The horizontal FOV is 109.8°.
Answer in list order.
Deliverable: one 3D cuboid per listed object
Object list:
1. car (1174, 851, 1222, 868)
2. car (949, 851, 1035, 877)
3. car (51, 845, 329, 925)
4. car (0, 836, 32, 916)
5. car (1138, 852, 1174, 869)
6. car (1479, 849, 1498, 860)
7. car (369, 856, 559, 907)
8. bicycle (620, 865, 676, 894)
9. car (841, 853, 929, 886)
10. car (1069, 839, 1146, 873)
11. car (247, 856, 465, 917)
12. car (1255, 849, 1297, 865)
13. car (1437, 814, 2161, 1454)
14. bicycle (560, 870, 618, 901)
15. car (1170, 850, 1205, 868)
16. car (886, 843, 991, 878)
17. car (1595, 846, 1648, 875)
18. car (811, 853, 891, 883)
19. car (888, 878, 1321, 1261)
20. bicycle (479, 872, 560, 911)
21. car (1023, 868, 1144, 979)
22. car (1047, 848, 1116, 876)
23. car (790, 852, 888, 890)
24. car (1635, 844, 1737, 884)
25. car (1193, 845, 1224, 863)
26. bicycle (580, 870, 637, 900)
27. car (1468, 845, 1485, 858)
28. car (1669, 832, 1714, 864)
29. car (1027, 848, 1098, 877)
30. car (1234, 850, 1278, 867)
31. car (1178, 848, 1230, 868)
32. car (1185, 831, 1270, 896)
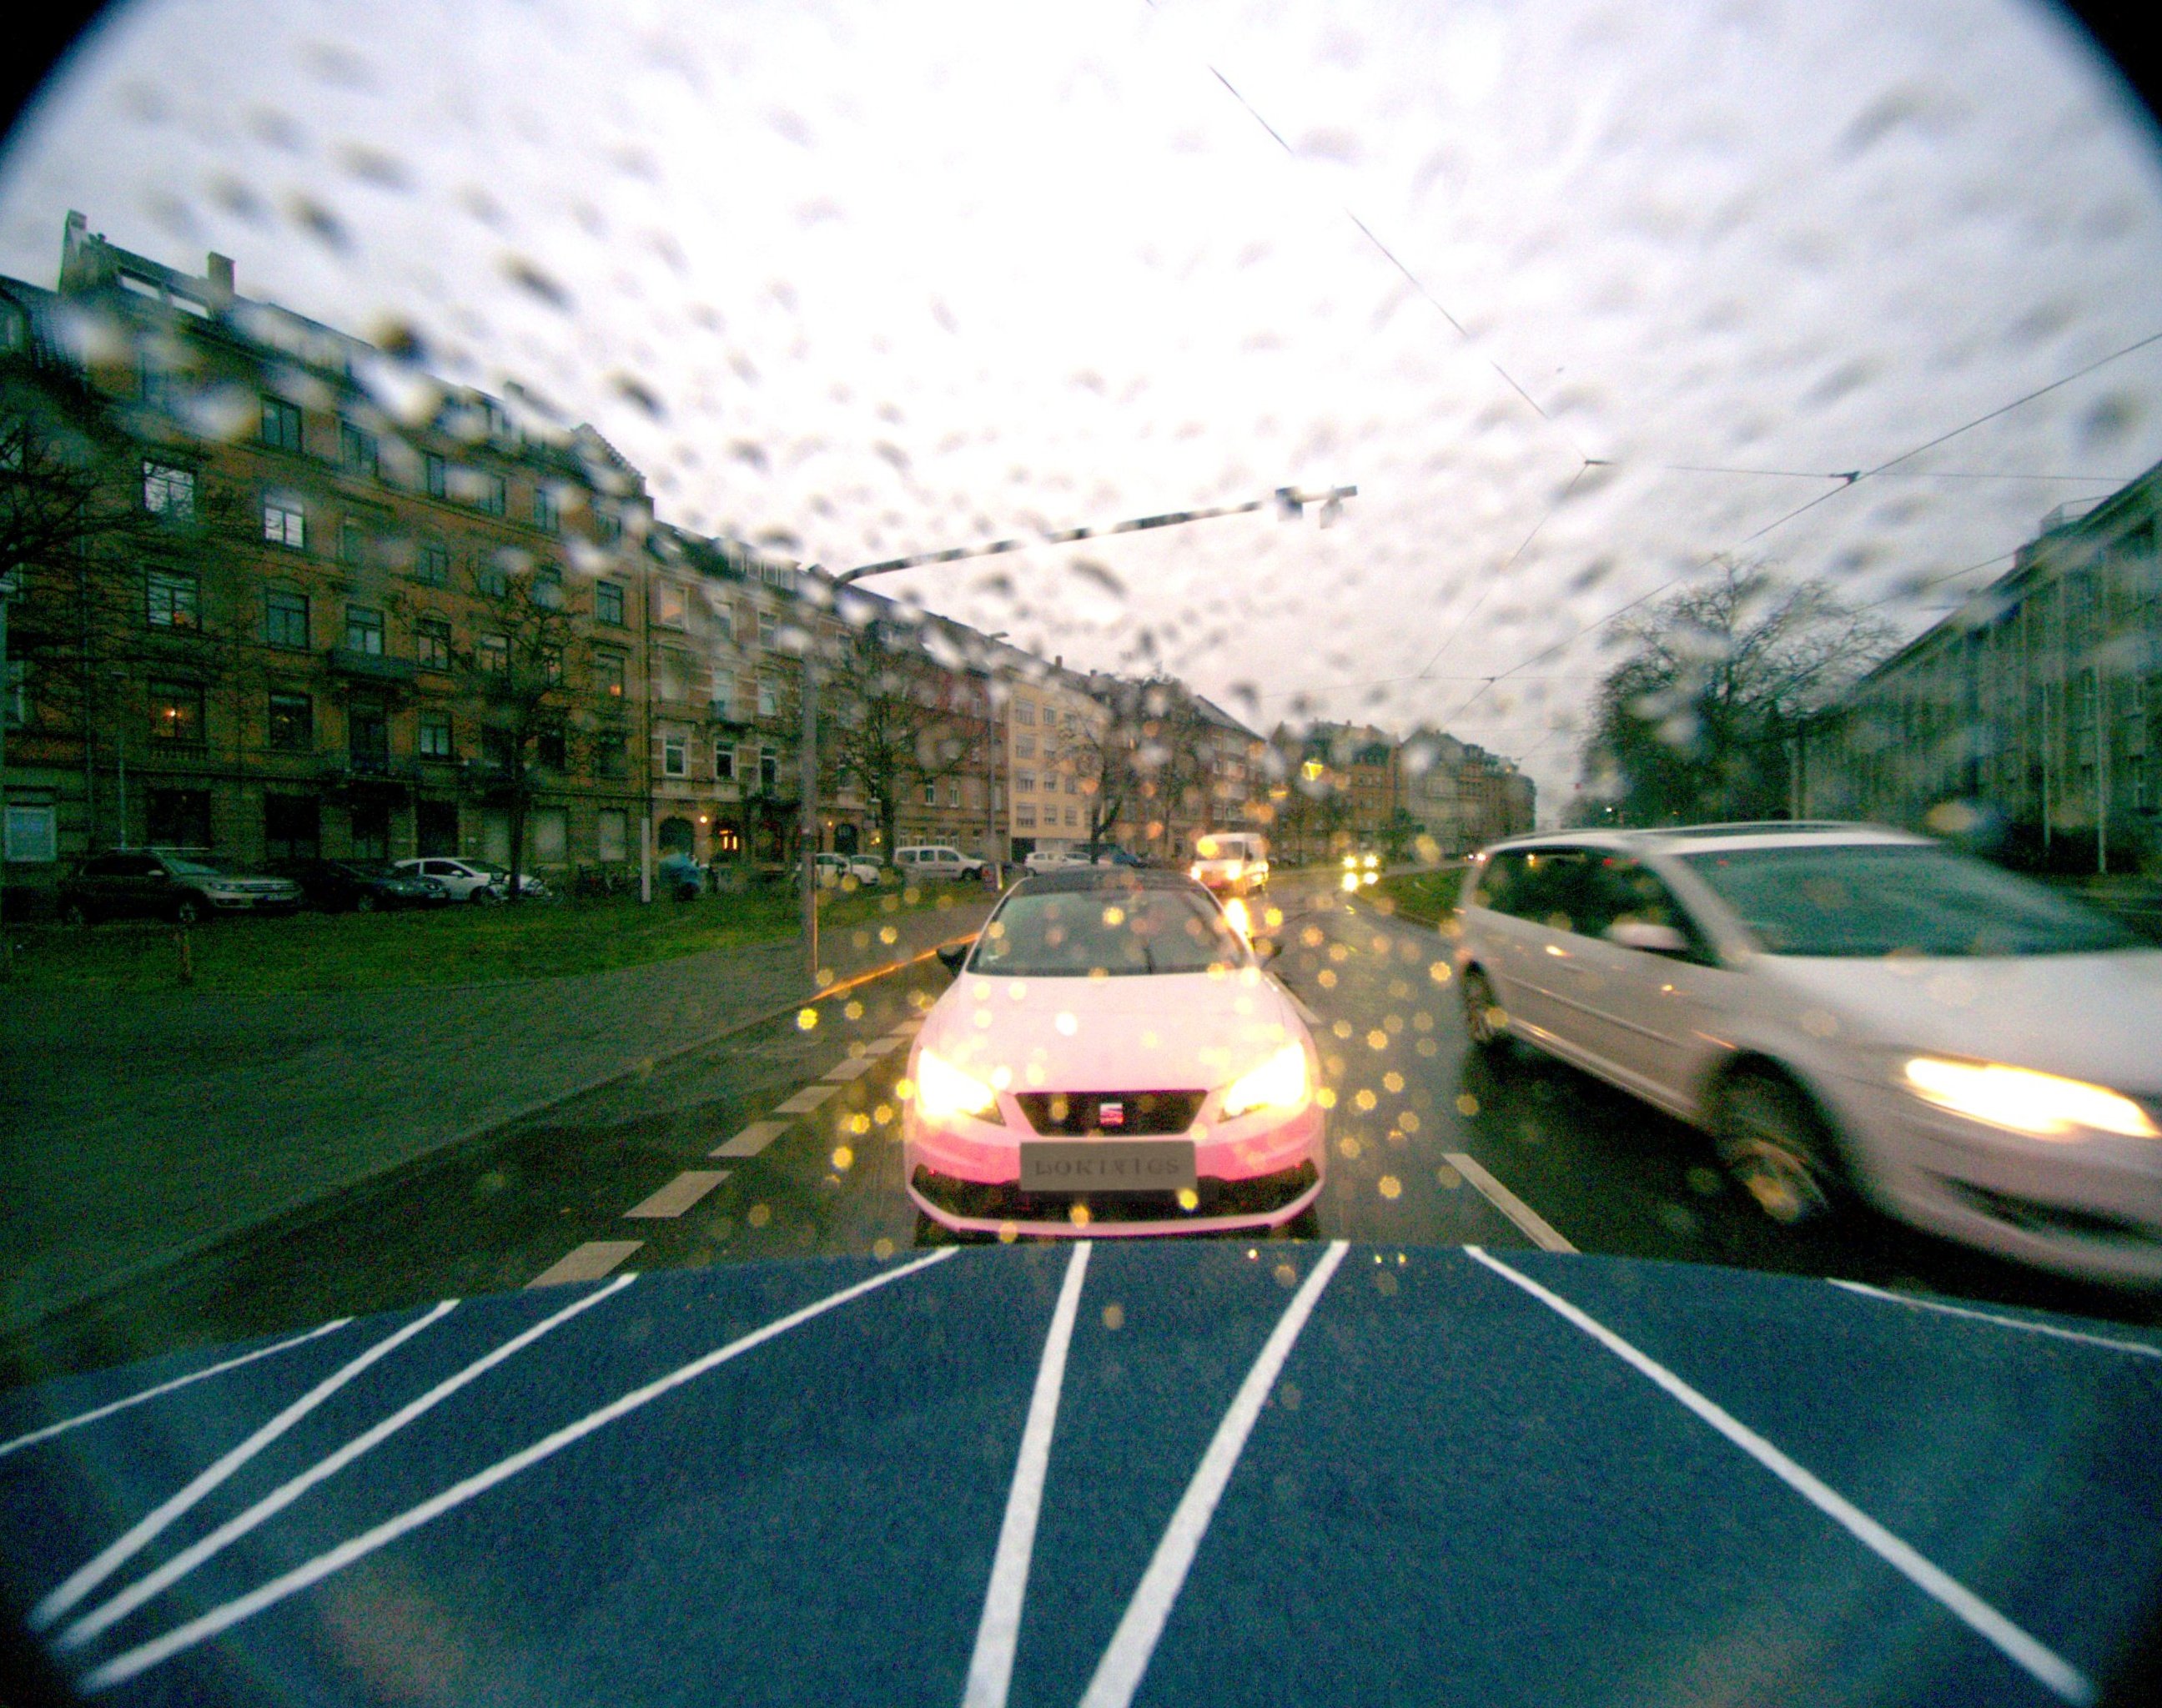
[{"bbox_3d":[9.544,0.464,61.868,3.760,1.325,1.603,-1,1,11],"label":"car"},{"bbox_3d":[-4.509,0.504,38.777,4.058,1.227,1.771,1,0,6],"label":"car"},{"bbox_3d":[-19.477,0.634,16.740,3.996,1.627,1.944,0,1,4],"label":"car"},{"bbox_3d":[-29.112,0.566,17.925,1.994,2.002,4.997,1,1,34],"label":"car"},{"bbox_3d":[6.977,0.562,70.640,1.470,1.534,3.880,0,1,38],"label":"car"},{"bbox_3d":[51.289,0.061,95.552,1.892,1.405,3.954,-1,0,32],"label":"car"},{"bbox_3d":[-17.135,0.741,21.230,3.856,1.329,1.698,-1,0,-1],"label":"car"},{"bbox_3d":[-15.060,0.869,26.409,2.165,0.960,0.627,0,1,28],"label":"bicycle"},{"bbox_3d":[-8.780,0.686,34.221,3.430,1.343,1.664,-2,0,2],"label":"car"},{"bbox_3d":[1.655,0.140,48.587,4.720,1.971,1.799,-2,0,-2],"label":"car"},{"bbox_3d":[-17.919,0.787,18.918,3.742,1.346,1.677,-2,-1,-2],"label":"car"},{"bbox_3d":[18.544,0.314,72.383,3.760,1.346,1.603,-3,0,11],"label":"car"},{"bbox_3d":[3.573,0.712,3.997,1.674,1.650,4.149,-3,0,5],"label":"car"},{"bbox_3d":[-16.131,1.045,24.888,2.165,0.960,0.627,-2,-2,28],"label":"bicycle"},{"bbox_3d":[10.651,0.495,75.784,1.690,1.534,4.008,-3,0,38],"label":"car"},{"bbox_3d":[-6.799,0.287,36.561,4.659,1.583,1.778,1,1,3],"label":"car"},{"bbox_3d":[31.221,0.354,44.014,1.822,1.426,4.663,-3,0,27],"label":"car"},{"bbox_3d":[-12.655,0.756,42.027,1.733,1.492,4.058,-3,-1,32],"label":"car"},{"bbox_3d":[0.178,0.954,4.966,1.714,1.404,3.680,-3,0,3],"label":"car"},{"bbox_3d":[-14.426,0.945,19.568,1.655,0.931,0.513,0,0,-35],"label":"bicycle"},{"bbox_3d":[0.139,0.958,11.690,1.589,1.418,3.135,-1,0,4],"label":"car"},{"bbox_3d":[0.002,0.483,45.783,3.998,1.406,1.641,-3,0,-2],"label":"car"},{"bbox_3d":[-10.046,0.696,31.687,3.462,1.435,1.615,-2,0,6],"label":"car"},{"bbox_3d":[23.839,0.352,30.138,1.659,1.392,4.529,-3,0,18],"label":"car"},{"bbox_3d":[13.592,-0.031,80.875,1.670,1.693,3.472,-3,0,40],"label":"car"},{"bbox_3d":[-15.858,1.059,25.485,2.165,0.960,0.627,-2,-2,28],"label":"bicycle"},{"bbox_3d":[52.571,-0.366,100.988,1.719,1.608,3.946,-1,0,32],"label":"car"},{"bbox_3d":[41.855,-0.432,52.174,1.995,2.002,4.518,-3,0,35],"label":"car"},{"bbox_3d":[-1.053,0.494,43.705,3.770,1.424,1.762,-3,0,9],"label":"car"},{"bbox_3d":[15.907,0.405,69.227,3.760,1.346,1.603,-3,0,11],"label":"car"},{"bbox_3d":[9.628,0.304,59.720,3.869,1.397,1.695,-3,0,6],"label":"car"},{"bbox_3d":[6.110,0.340,31.015,2.126,2.366,5.647,-2,0,24],"label":"car"}]
